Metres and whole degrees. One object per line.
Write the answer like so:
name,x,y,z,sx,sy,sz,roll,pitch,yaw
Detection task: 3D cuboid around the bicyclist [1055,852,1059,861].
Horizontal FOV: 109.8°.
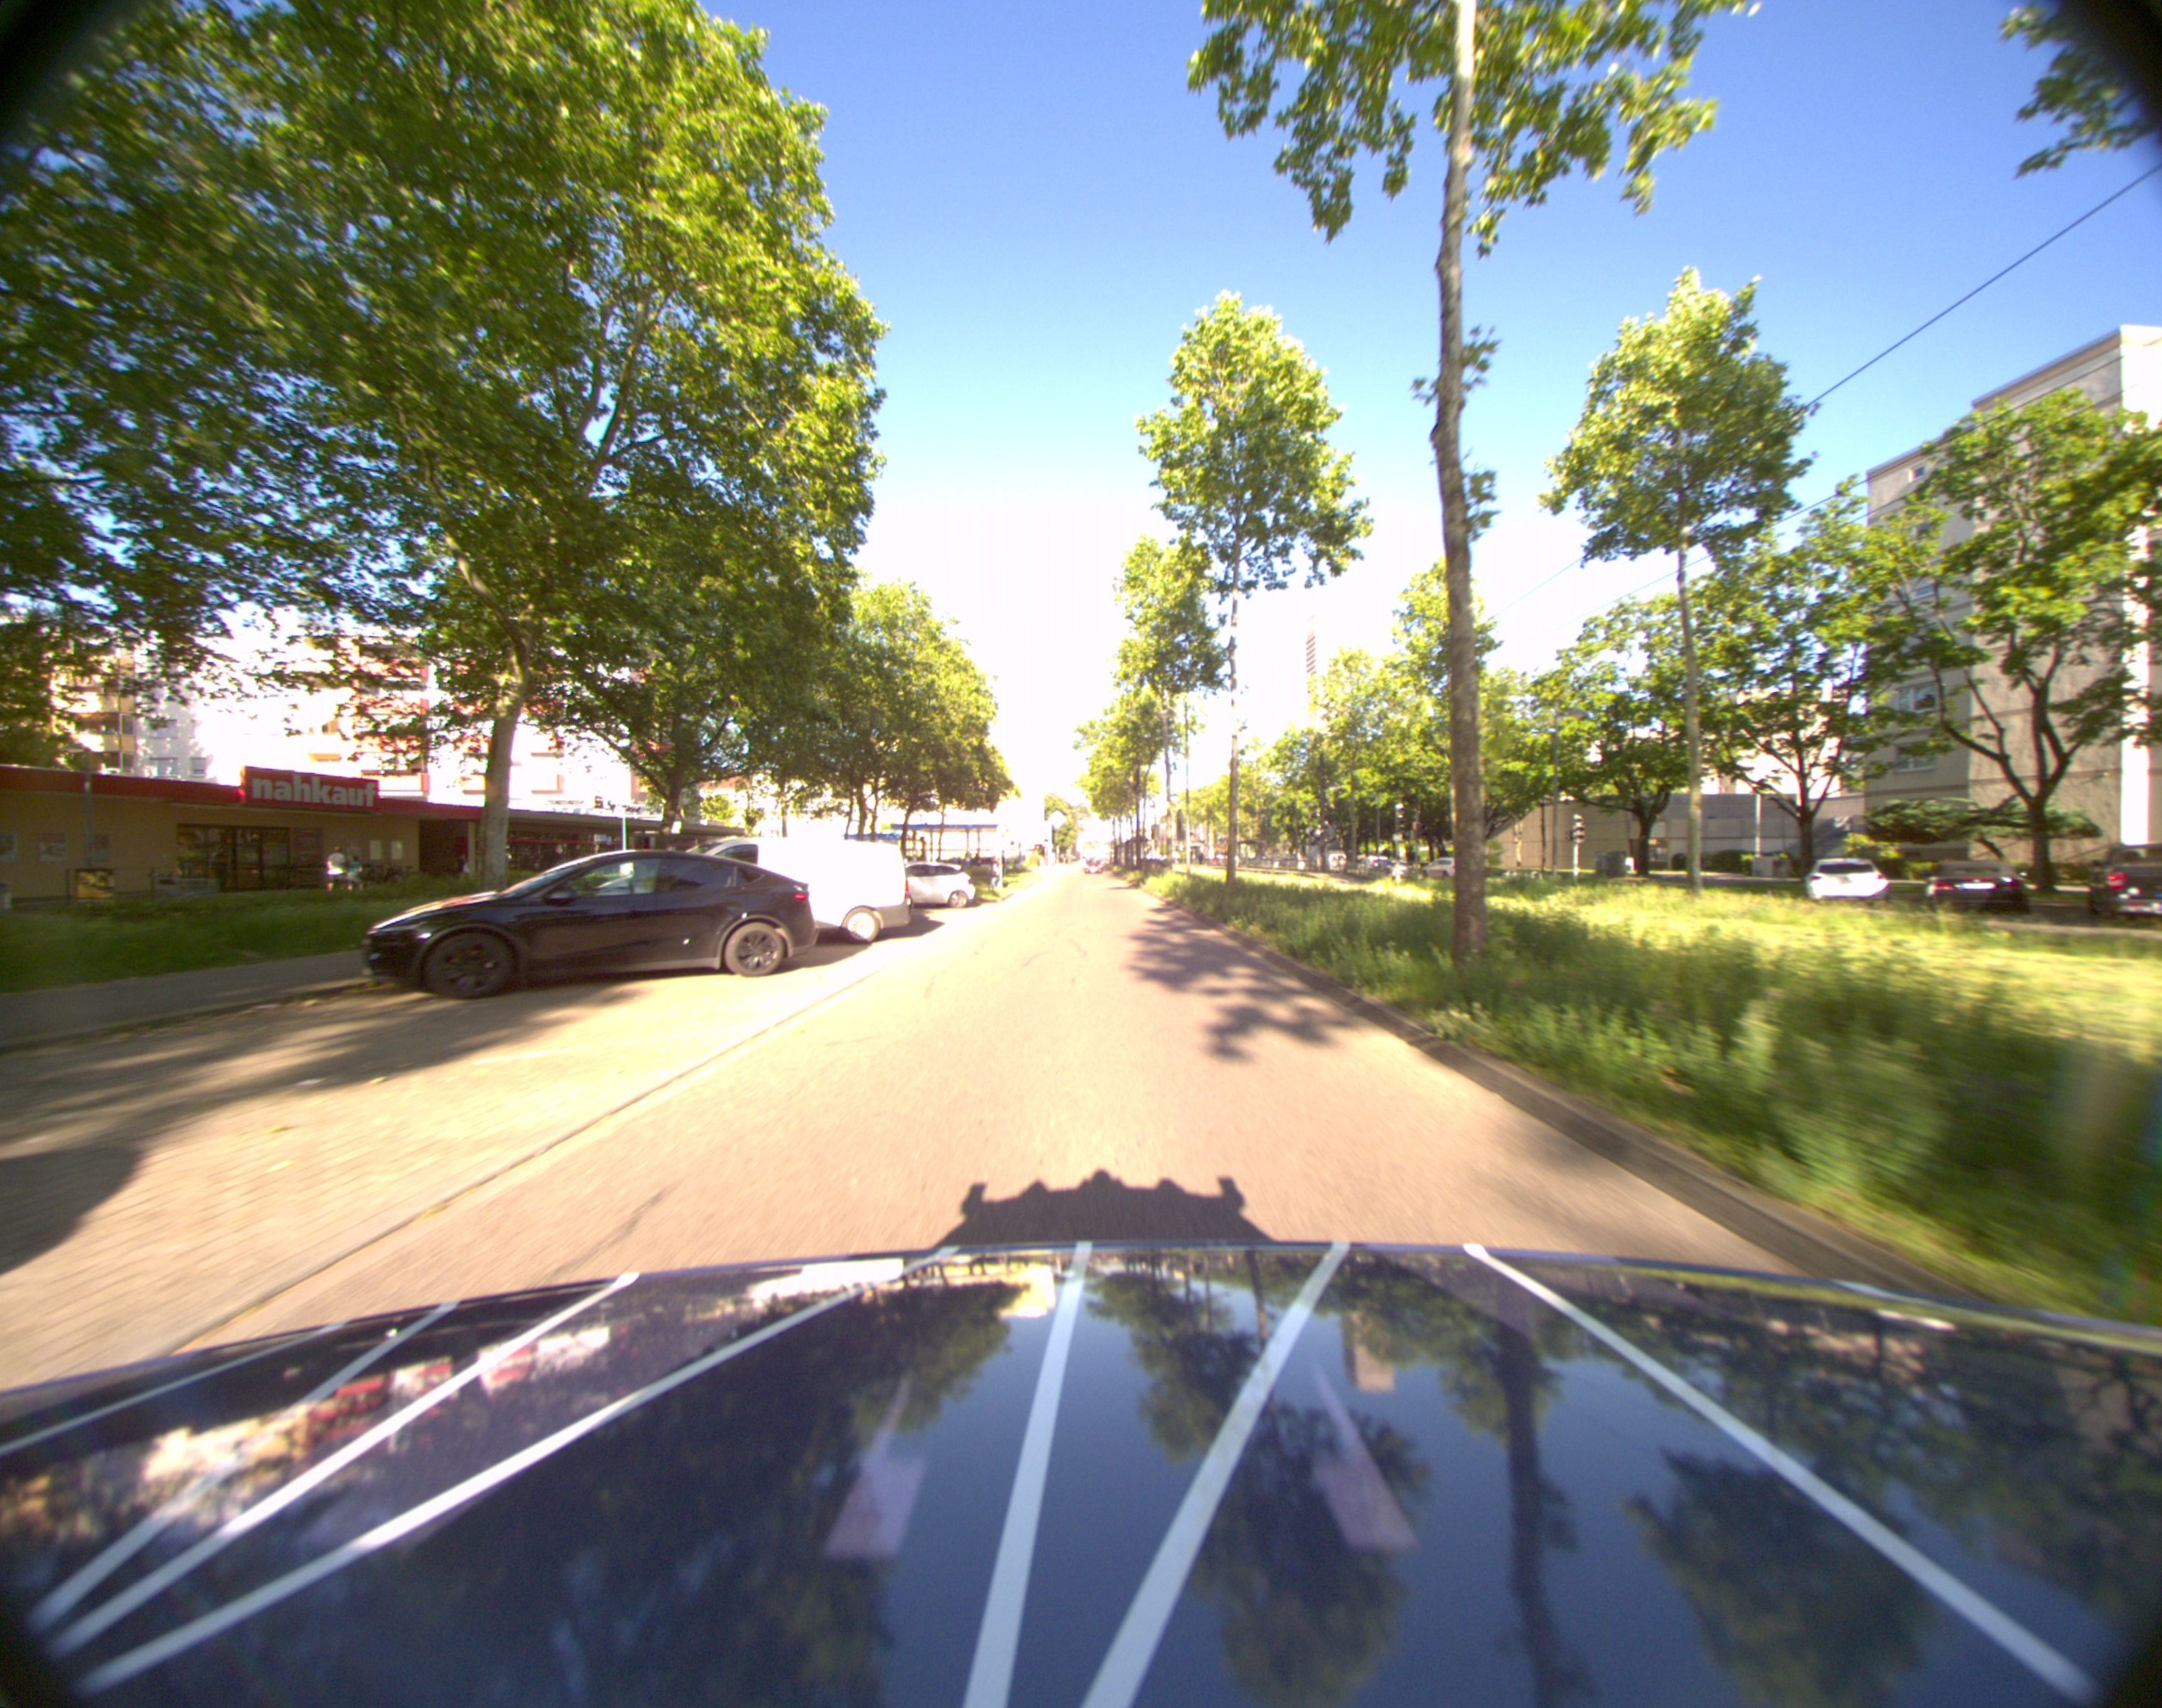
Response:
bicyclist,-3.918,0.457,123.078,0.678,1.466,0.936,0,1,0

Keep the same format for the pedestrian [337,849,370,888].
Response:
pedestrian,-27.213,0.543,28.426,0.533,1.422,0.715,0,0,-4

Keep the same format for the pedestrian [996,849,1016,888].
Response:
pedestrian,-3.696,0.689,37.290,0.799,1.874,0.928,0,0,5

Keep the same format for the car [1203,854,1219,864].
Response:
car,18.864,0.686,110.550,1.609,1.419,3.536,0,0,-1

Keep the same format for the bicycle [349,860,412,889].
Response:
bicycle,-30.013,0.875,32.578,0.597,1.172,1.854,-1,0,29

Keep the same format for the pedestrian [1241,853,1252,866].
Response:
pedestrian,16.001,0.550,73.540,0.838,1.253,0.801,-1,1,30

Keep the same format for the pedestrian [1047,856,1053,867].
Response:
pedestrian,-5.341,1.252,129.364,0.790,1.817,1.032,1,1,-16

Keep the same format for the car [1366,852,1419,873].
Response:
car,20.437,0.537,50.011,1.998,1.381,4.169,0,0,3

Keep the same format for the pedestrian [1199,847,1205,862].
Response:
pedestrian,16.040,0.069,100.650,0.722,1.856,0.637,-1,1,2

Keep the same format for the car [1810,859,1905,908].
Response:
car,24.432,0.865,24.023,1.835,1.426,3.834,0,0,42

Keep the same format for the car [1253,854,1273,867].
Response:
car,21.547,0.790,90.085,1.718,1.537,3.934,0,0,3

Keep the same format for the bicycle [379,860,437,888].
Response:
bicycle,-30.173,0.876,34.109,0.598,1.172,1.853,-1,0,23

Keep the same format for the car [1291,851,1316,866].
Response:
car,24.585,0.457,84.115,1.598,1.626,3.930,0,0,1

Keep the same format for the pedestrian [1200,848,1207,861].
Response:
pedestrian,16.104,0.069,99.836,0.885,1.680,0.754,-1,1,2

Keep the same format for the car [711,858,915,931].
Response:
car,-5.979,0.885,17.031,4.006,1.421,1.795,2,0,-30

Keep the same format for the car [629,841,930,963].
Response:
car,-5.270,0.743,13.650,4.680,1.842,1.825,1,1,-39

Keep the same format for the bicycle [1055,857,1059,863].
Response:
bicycle,-3.916,0.961,123.214,0.684,0.925,1.736,0,0,0

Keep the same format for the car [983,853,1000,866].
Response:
car,-10.621,0.644,90.680,1.725,1.454,4.004,0,0,-2

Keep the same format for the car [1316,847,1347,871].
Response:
car,24.158,0.494,73.366,1.718,2.249,3.933,0,0,0

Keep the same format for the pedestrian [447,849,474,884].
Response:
pedestrian,-28.578,0.563,35.014,0.673,1.575,0.715,0,0,-4

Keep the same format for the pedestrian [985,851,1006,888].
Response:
pedestrian,-3.963,0.699,35.327,0.714,1.696,0.652,1,1,-33

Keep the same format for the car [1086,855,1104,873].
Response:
car,1.292,0.896,69.883,1.619,1.536,4.278,0,0,2

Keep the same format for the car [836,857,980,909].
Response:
car,-5.359,0.915,23.677,4.006,1.461,1.756,2,0,-30

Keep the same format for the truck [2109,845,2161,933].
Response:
truck,23.887,0.693,16.533,4.092,1.764,1.647,-1,-1,-35

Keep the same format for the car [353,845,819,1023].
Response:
car,-5.806,0.784,9.405,4.512,1.695,1.756,1,1,-40

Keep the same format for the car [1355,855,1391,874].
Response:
car,23.860,0.855,62.230,1.717,1.537,3.934,0,0,4

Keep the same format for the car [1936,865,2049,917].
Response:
car,24.623,0.974,20.612,3.834,1.239,1.835,2,-1,-41

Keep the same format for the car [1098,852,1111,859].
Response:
car,5.170,0.396,166.604,1.545,1.522,3.597,-3,1,-19

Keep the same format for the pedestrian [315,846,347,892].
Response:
pedestrian,-27.794,0.556,28.151,0.496,1.690,0.715,0,0,-4

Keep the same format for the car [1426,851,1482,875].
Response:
car,24.244,0.560,49.529,1.718,1.537,4.201,0,0,2

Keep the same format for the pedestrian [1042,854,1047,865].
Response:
pedestrian,-5.338,0.808,112.061,0.605,1.691,0.552,0,0,5
